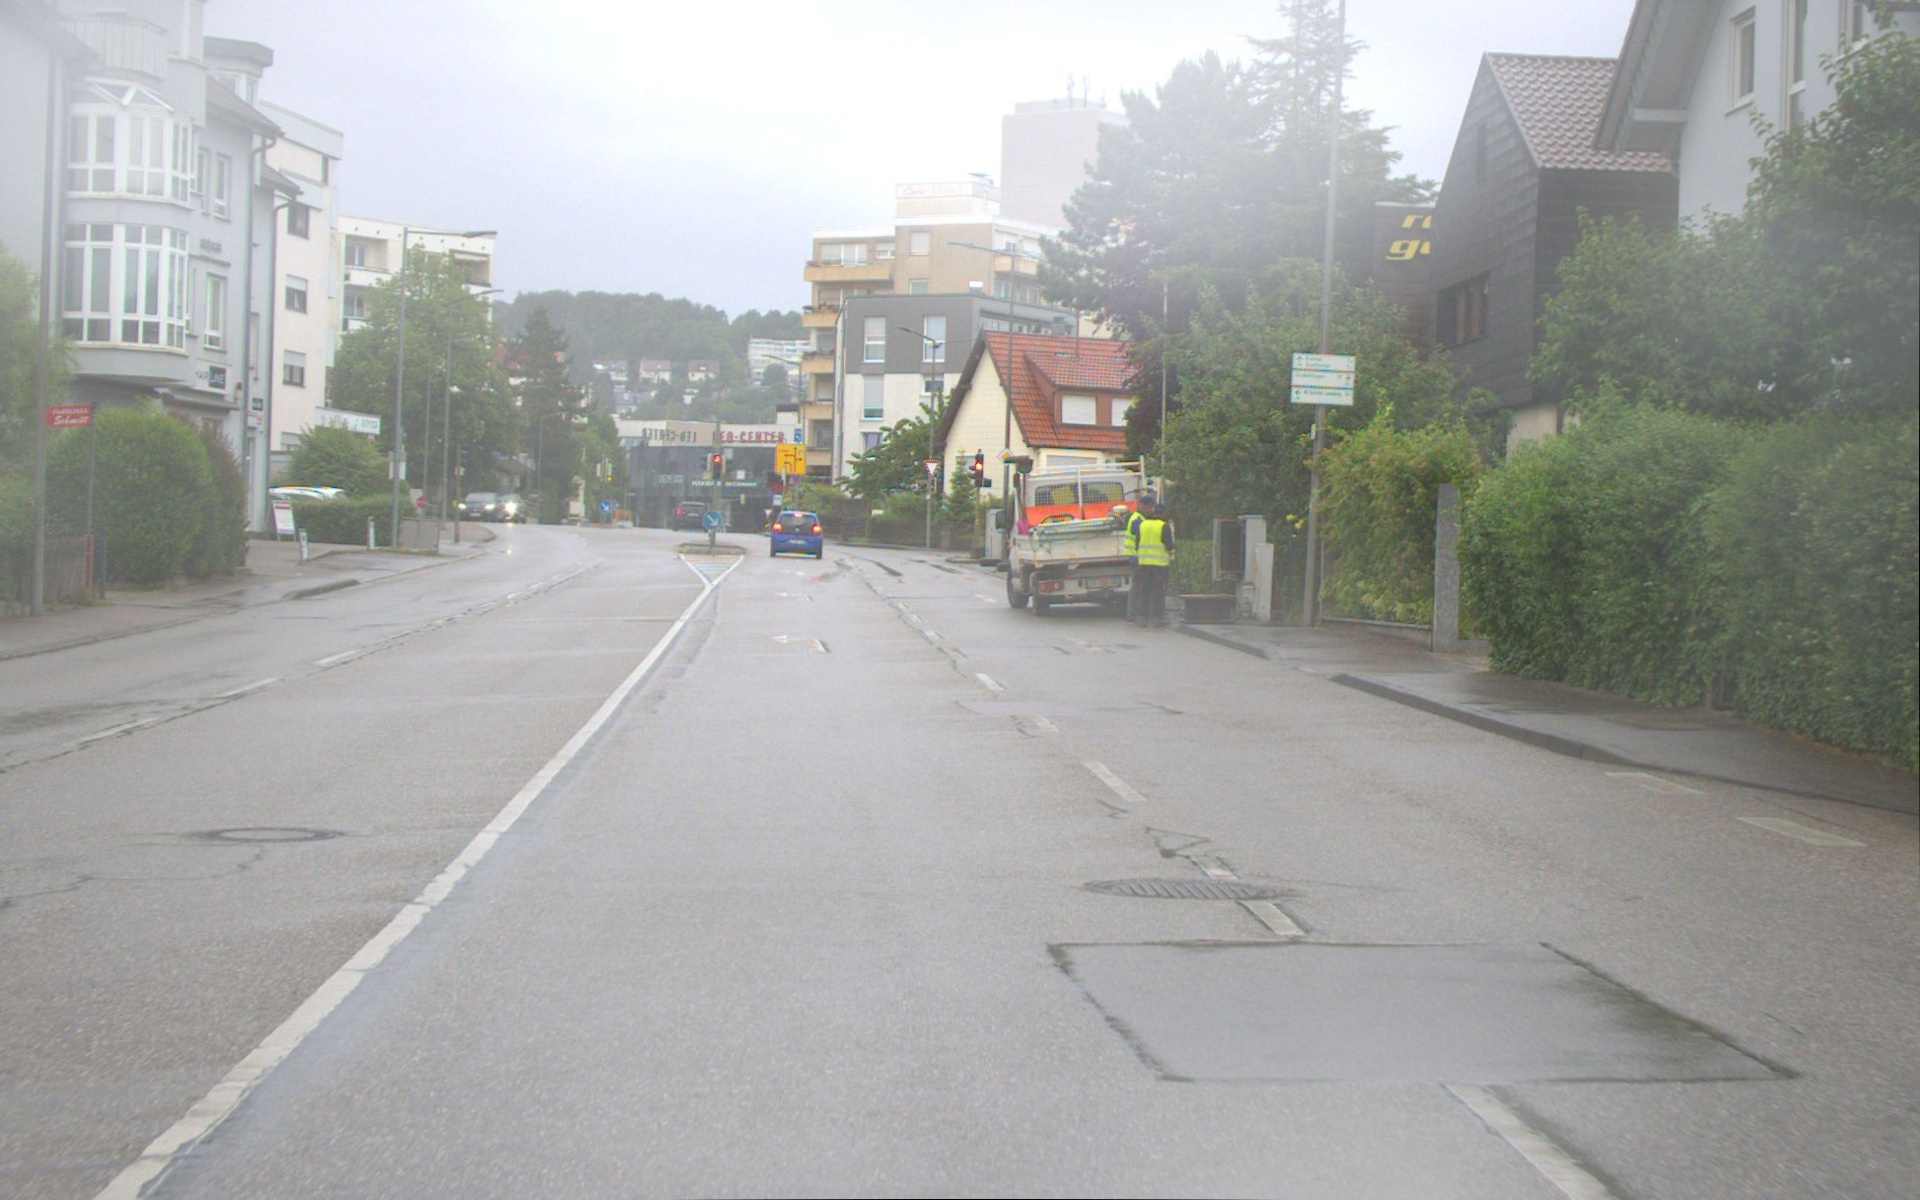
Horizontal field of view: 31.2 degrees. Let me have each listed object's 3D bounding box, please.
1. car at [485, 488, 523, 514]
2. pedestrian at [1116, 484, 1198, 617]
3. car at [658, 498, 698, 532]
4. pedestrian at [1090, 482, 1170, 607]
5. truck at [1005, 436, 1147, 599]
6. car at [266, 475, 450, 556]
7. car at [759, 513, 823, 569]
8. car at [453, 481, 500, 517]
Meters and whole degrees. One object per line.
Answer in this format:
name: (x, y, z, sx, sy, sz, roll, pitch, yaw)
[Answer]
car: (-22.783, -4.939, 171.832, 1.437, 1.231, 4.001, 3, 1, -2)
pedestrian: (2.686, -0.680, 46.975, 0.822, 1.791, 0.800, 1, 1, -20)
car: (-13.445, -4.041, 163.976, 1.579, 1.433, 4.000, 6, 0, -2)
pedestrian: (2.360, -0.775, 47.855, 0.822, 1.720, 0.841, 1, 1, -20)
truck: (1.721, -1.234, 51.624, 1.993, 2.295, 4.000, 1, 1, 1)
car: (-16.717, -2.349, 95.570, 4.524, 2.007, 1.999, 3, 1, 12)
car: (-5.243, -1.847, 106.969, 1.794, 1.664, 4.000, 1, 1, -1)
car: (-23.079, -4.819, 164.138, 1.659, 1.458, 4.000, 6, 0, -2)
